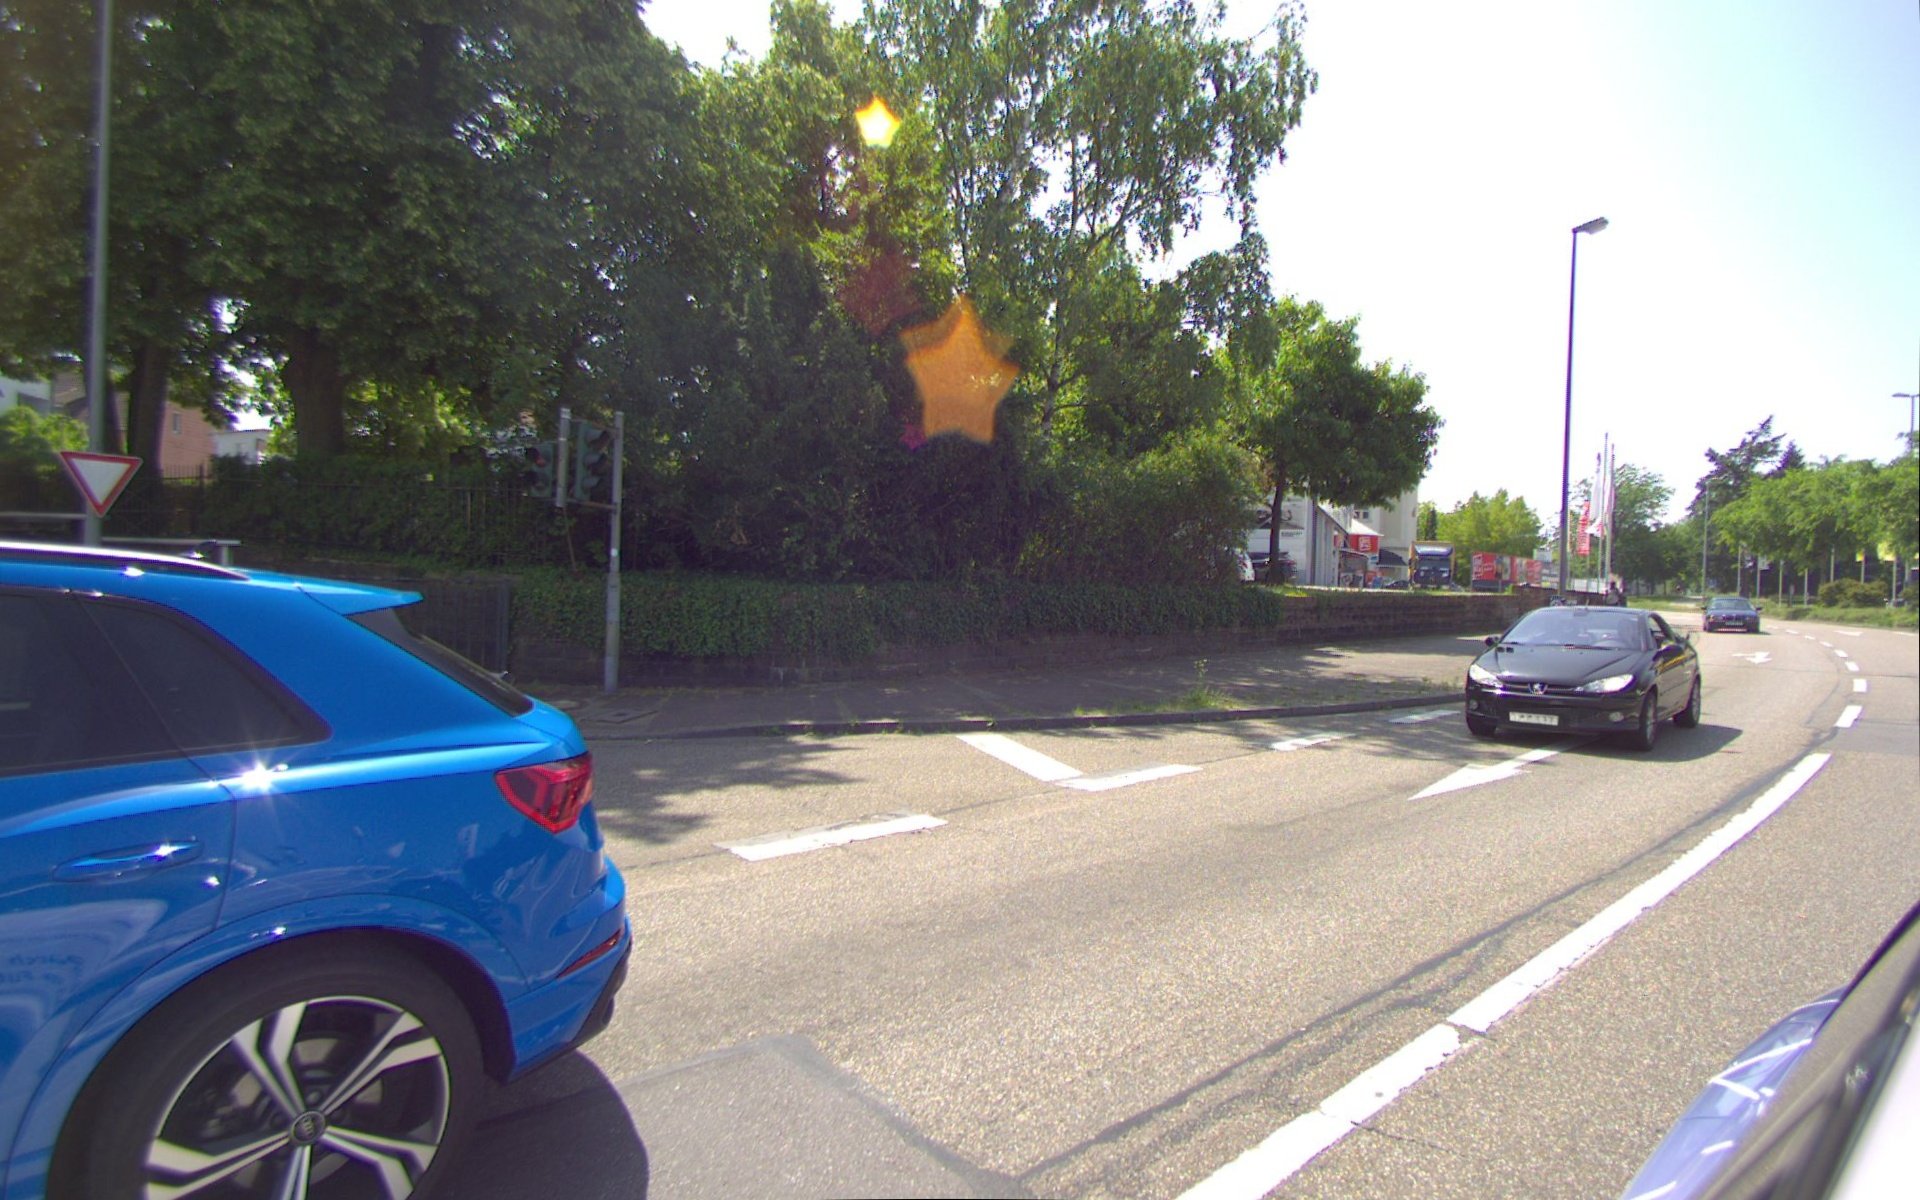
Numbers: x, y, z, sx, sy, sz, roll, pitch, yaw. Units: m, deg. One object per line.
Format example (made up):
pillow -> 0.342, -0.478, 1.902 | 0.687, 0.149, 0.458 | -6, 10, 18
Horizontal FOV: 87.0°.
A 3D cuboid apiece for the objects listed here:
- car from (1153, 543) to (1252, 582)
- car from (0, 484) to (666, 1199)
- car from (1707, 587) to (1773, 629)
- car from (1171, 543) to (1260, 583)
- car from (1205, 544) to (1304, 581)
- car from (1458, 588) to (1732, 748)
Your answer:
car -> 9.011, -1.364, 37.584 | 3.289, 1.403, 1.643 | 1, 1, 27
car -> -2.984, 0.595, 1.838 | 4.319, 1.617, 1.916 | 0, 1, -41
car -> 30.239, 0.275, 39.338 | 1.687, 1.390, 3.954 | 2, 3, 33
car -> 10.073, -1.443, 39.870 | 3.128, 1.490, 1.487 | 1, 1, 30
car -> 12.960, -1.630, 44.619 | 3.961, 1.559, 1.723 | 1, 1, 27
car -> 6.979, 0.606, 10.998 | 3.599, 1.443, 1.602 | -1, 0, -42
